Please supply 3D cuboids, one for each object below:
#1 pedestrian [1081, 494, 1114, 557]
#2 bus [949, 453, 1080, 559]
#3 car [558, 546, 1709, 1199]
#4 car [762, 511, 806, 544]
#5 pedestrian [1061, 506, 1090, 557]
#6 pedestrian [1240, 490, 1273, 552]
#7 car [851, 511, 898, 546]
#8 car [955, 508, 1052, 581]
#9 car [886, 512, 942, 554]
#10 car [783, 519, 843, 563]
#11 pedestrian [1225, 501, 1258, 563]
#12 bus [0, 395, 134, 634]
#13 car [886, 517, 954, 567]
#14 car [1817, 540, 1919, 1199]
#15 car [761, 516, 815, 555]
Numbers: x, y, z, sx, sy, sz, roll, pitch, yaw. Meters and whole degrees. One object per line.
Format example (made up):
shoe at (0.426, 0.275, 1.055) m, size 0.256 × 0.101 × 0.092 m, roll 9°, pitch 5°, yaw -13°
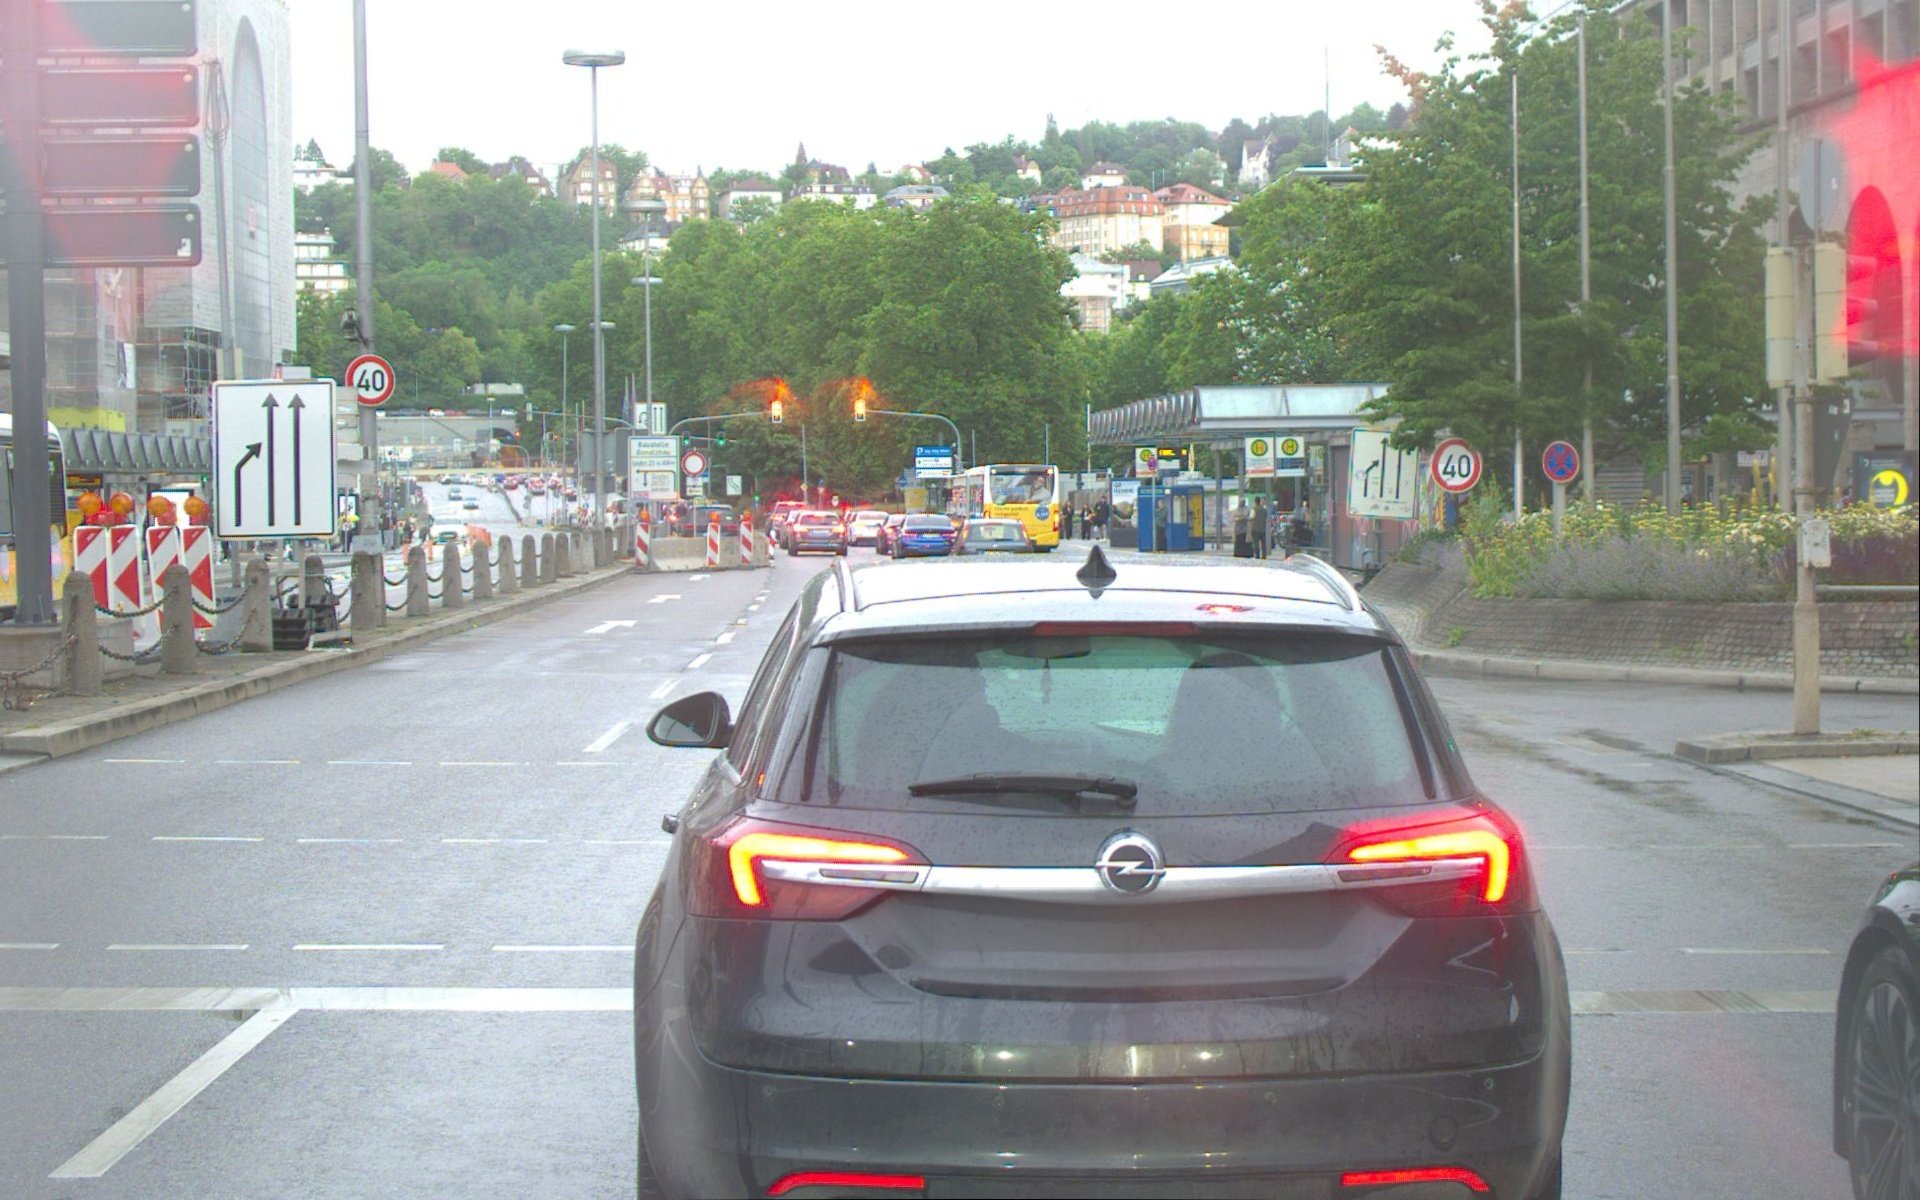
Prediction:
pedestrian at (5.372, -2.895, 134.298) m, size 1.199 × 2.427 × 1.228 m, roll 1°, pitch 1°, yaw 1°
bus at (1.779, -3.203, 120.871) m, size 4.173 × 3.457 × 14.655 m, roll 1°, pitch 1°, yaw -1°
car at (0.245, 0.639, 7.644) m, size 1.874 × 1.481 × 4.000 m, roll 1°, pitch 1°, yaw -1°
car at (-7.683, -3.155, 149.957) m, size 1.759 × 1.393 × 3.564 m, roll 1°, pitch 1°, yaw -1°
pedestrian at (4.966, -2.935, 147.731) m, size 1.199 × 2.141 × 1.228 m, roll 1°, pitch 1°, yaw 1°
pedestrian at (8.129, -2.162, 94.239) m, size 0.763 × 1.684 × 0.825 m, roll 1°, pitch 1°, yaw -5°
car at (-3.494, -2.945, 141.293) m, size 1.845 × 1.393 × 3.564 m, roll 1°, pitch 1°, yaw -1°
car at (0.851, -1.113, 69.205) m, size 1.845 × 1.393 × 3.667 m, roll 1°, pitch 1°, yaw -1°
car at (-1.586, -2.291, 117.729) m, size 1.753 × 1.393 × 4.402 m, roll 1°, pitch 1°, yaw -3°
car at (-4.777, -1.926, 112.014) m, size 1.845 × 1.393 × 3.564 m, roll 1°, pitch 1°, yaw -1°
pedestrian at (7.813, -1.883, 95.437) m, size 0.763 × 1.684 × 0.825 m, roll 1°, pitch 1°, yaw -5°
bus at (-15.811, -1.348, 55.287) m, size 2.668 × 3.589 × 10.212 m, roll 1°, pitch 1°, yaw -1°
car at (-1.196, -1.673, 100.286) m, size 1.753 × 1.393 × 4.649 m, roll 1°, pitch 1°, yaw -3°
car at (2.738, 0.667, 5.026) m, size 1.793 × 1.496 × 4.629 m, roll 1°, pitch 1°, yaw 0°
car at (-6.356, -2.381, 127.159) m, size 1.845 × 1.393 × 3.564 m, roll 1°, pitch 1°, yaw -1°
